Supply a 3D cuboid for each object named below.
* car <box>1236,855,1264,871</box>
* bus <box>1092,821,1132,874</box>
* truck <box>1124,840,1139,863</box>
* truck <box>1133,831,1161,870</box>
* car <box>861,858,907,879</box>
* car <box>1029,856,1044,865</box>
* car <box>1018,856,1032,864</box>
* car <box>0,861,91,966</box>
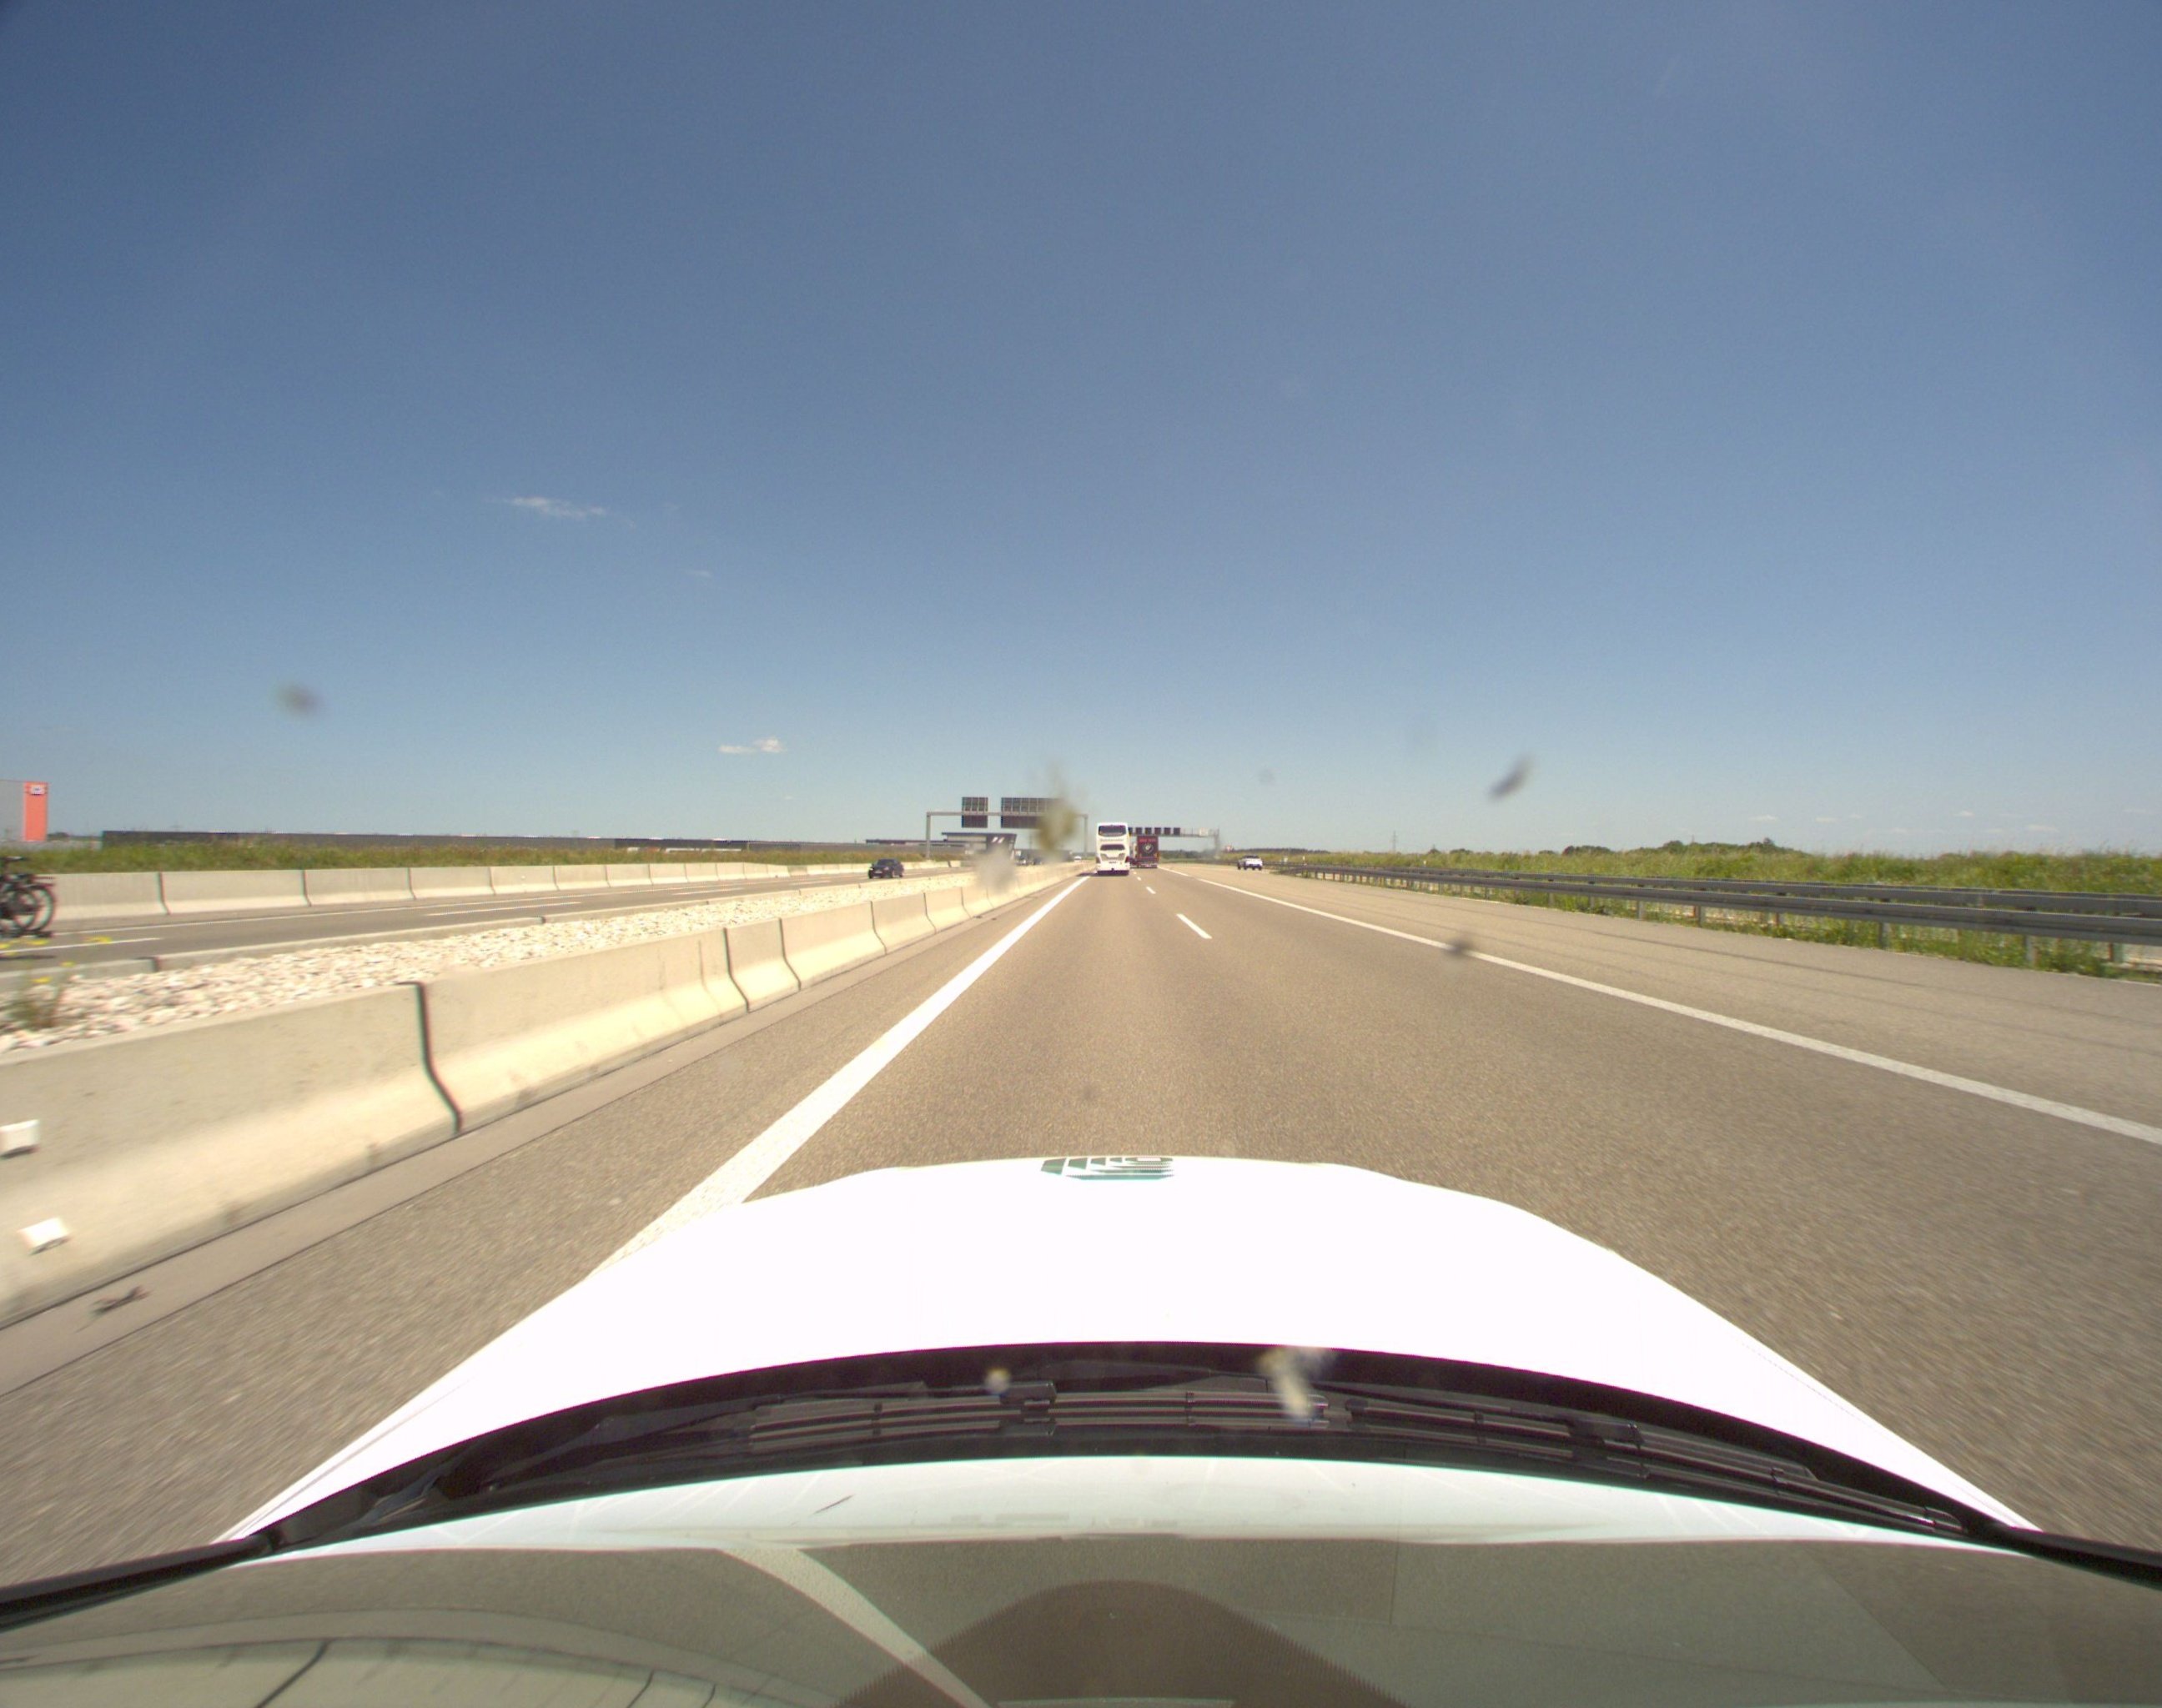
[{"bbox_3d":[17.313,0.918,83.450,1.886,1.529,4.259,-1,0,-2],"label":"car"},{"bbox_3d":[2.366,-0.525,65.172,2.970,3.974,9.105,0,1,1],"label":"bus"},{"bbox_3d":[8.710,-0.428,140.660,2.428,3.789,6.496,-1,0,2],"label":"truck"},{"bbox_3d":[8.557,-0.326,105.232,3.364,4.464,13.581,0,-2,4],"label":"truck"},{"bbox_3d":[-14.088,1.005,58.547,1.985,1.379,4.368,-1,0,4],"label":"car"},{"bbox_3d":[-7.060,0.959,129.517,1.836,1.382,4.757,-1,0,4],"label":"car"},{"bbox_3d":[-9.629,0.953,139.468,1.883,1.329,3.989,-1,0,3],"label":"car"},{"bbox_3d":[-16.549,0.890,10.239,1.862,1.491,5.139,0,0,1],"label":"car"}]
